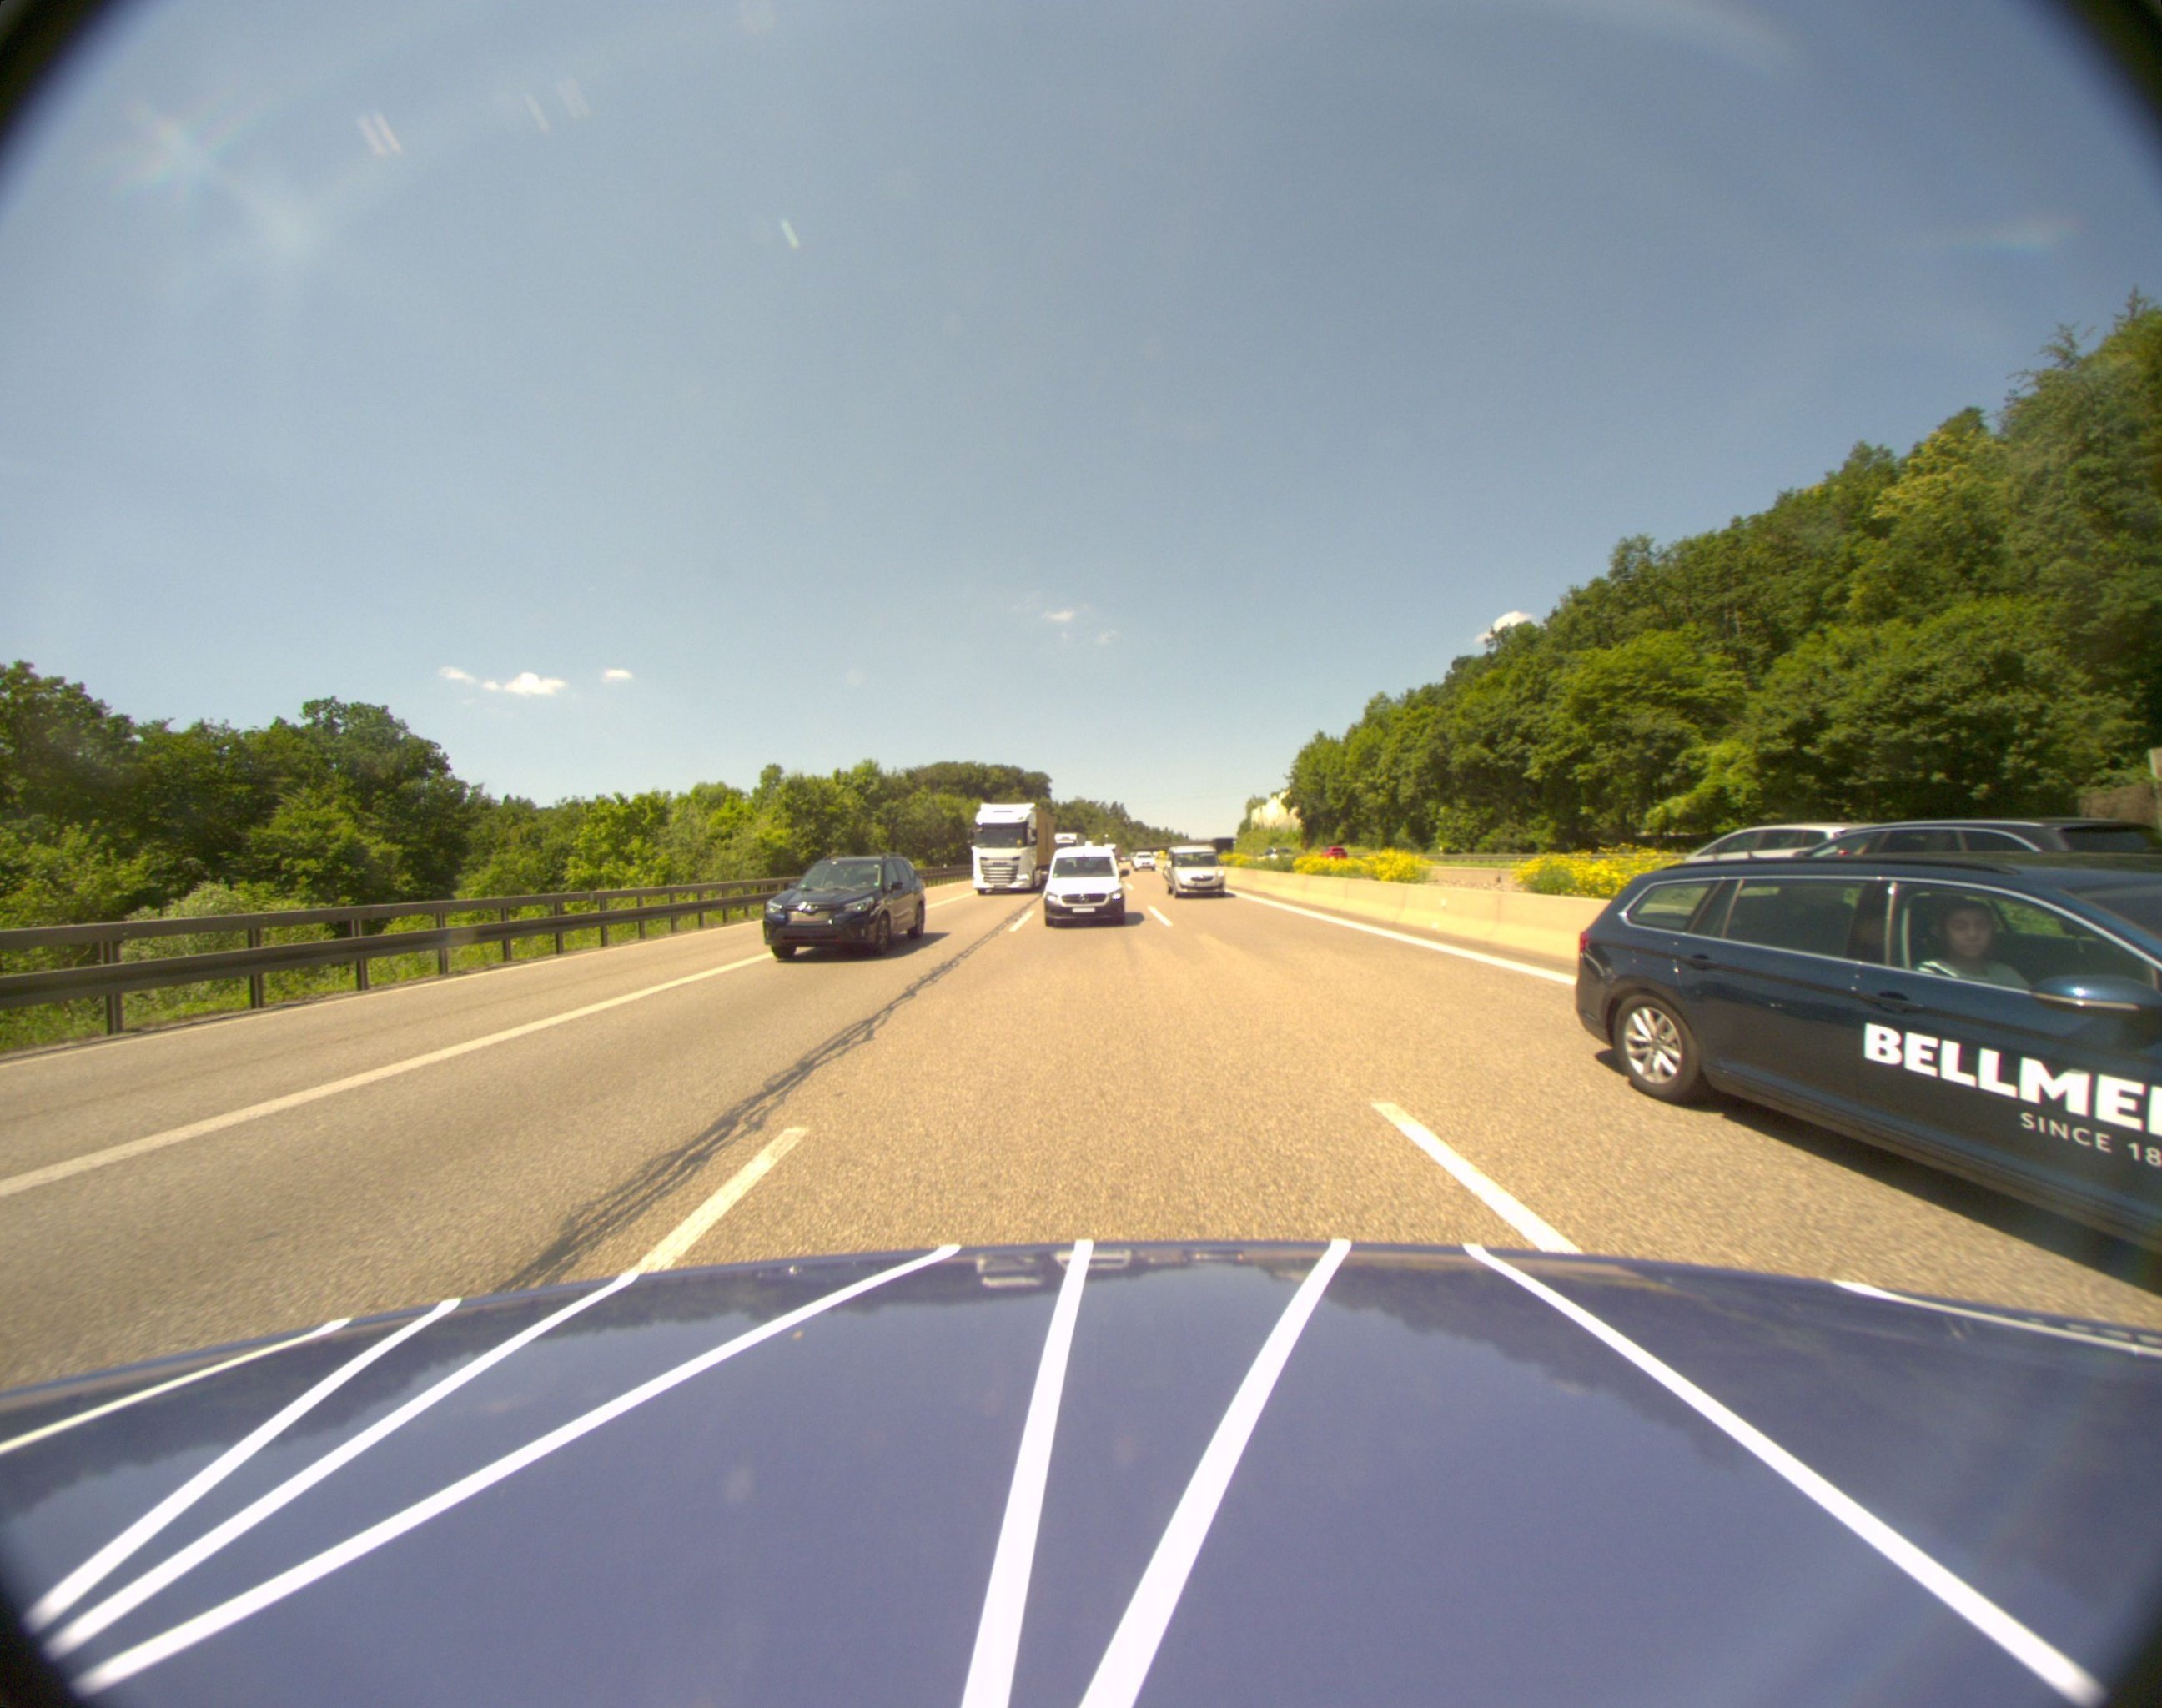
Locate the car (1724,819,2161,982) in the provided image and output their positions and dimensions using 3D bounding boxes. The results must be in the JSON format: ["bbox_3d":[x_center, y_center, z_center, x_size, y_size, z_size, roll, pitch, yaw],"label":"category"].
[{"bbox_3d":[11.287,0.442,9.968,1.728,1.613,4.690,-2,0,1],"label":"car"}]

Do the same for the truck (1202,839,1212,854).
[{"bbox_3d":[34.293,-2.074,207.306,2.386,3.933,6.908,-2,0,11],"label":"truck"}]

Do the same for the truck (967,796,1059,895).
[{"bbox_3d":[-3.096,-0.435,40.339,2.789,4.145,16.268,-1,1,2],"label":"truck"}]

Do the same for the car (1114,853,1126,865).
[{"bbox_3d":[7.041,0.881,138.430,1.902,2.002,4.000,-2,0,-1],"label":"car"}]

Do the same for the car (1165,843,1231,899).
[{"bbox_3d":[4.134,0.580,27.470,1.780,1.833,4.000,-2,0,1],"label":"car"}]

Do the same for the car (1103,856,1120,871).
[{"bbox_3d":[4.085,1.258,103.049,1.999,2.002,3.999,-2,0,-2],"label":"car"}]

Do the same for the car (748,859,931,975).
[{"bbox_3d":[-4.101,0.972,13.697,1.816,1.658,4.203,-2,1,1],"label":"car"}]

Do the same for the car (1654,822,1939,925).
[{"bbox_3d":[15.163,0.346,16.544,1.998,1.888,4.505,-2,1,1],"label":"car"}]

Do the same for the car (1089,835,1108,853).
[{"bbox_3d":[2.659,-1.543,118.223,2.721,2.534,5.940,-2,1,0],"label":"car"}]

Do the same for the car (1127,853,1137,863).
[{"bbox_3d":[11.520,0.916,171.150,1.998,2.002,4.000,-2,0,0],"label":"car"}]

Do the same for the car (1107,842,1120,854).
[{"bbox_3d":[7.565,-1.410,175.502,2.721,2.534,5.940,-2,1,0],"label":"car"}]

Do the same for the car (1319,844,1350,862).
[{"bbox_3d":[24.654,-0.121,73.982,1.731,1.625,4.000,-2,1,1],"label":"car"}]

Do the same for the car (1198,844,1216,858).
[{"bbox_3d":[15.739,-0.376,94.978,1.536,1.760,3.885,-2,0,1],"label":"car"}]

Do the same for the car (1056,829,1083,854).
[{"bbox_3d":[-1.226,-1.306,83.248,2.721,2.534,5.940,-2,1,0],"label":"car"}]

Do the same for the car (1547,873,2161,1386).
[{"bbox_3d":[4.127,0.873,2.972,1.737,1.419,4.730,-2,0,1],"label":"car"}]

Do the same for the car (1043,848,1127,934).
[{"bbox_3d":[0.128,0.777,18.373,1.729,1.760,4.313,-2,1,1],"label":"car"}]

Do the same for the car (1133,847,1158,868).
[{"bbox_3d":[5.910,0.305,69.884,1.998,1.827,4.000,-2,0,1],"label":"car"}]

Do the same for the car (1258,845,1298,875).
[{"bbox_3d":[12.317,0.369,47.680,1.536,1.760,3.885,-2,0,1],"label":"car"}]
